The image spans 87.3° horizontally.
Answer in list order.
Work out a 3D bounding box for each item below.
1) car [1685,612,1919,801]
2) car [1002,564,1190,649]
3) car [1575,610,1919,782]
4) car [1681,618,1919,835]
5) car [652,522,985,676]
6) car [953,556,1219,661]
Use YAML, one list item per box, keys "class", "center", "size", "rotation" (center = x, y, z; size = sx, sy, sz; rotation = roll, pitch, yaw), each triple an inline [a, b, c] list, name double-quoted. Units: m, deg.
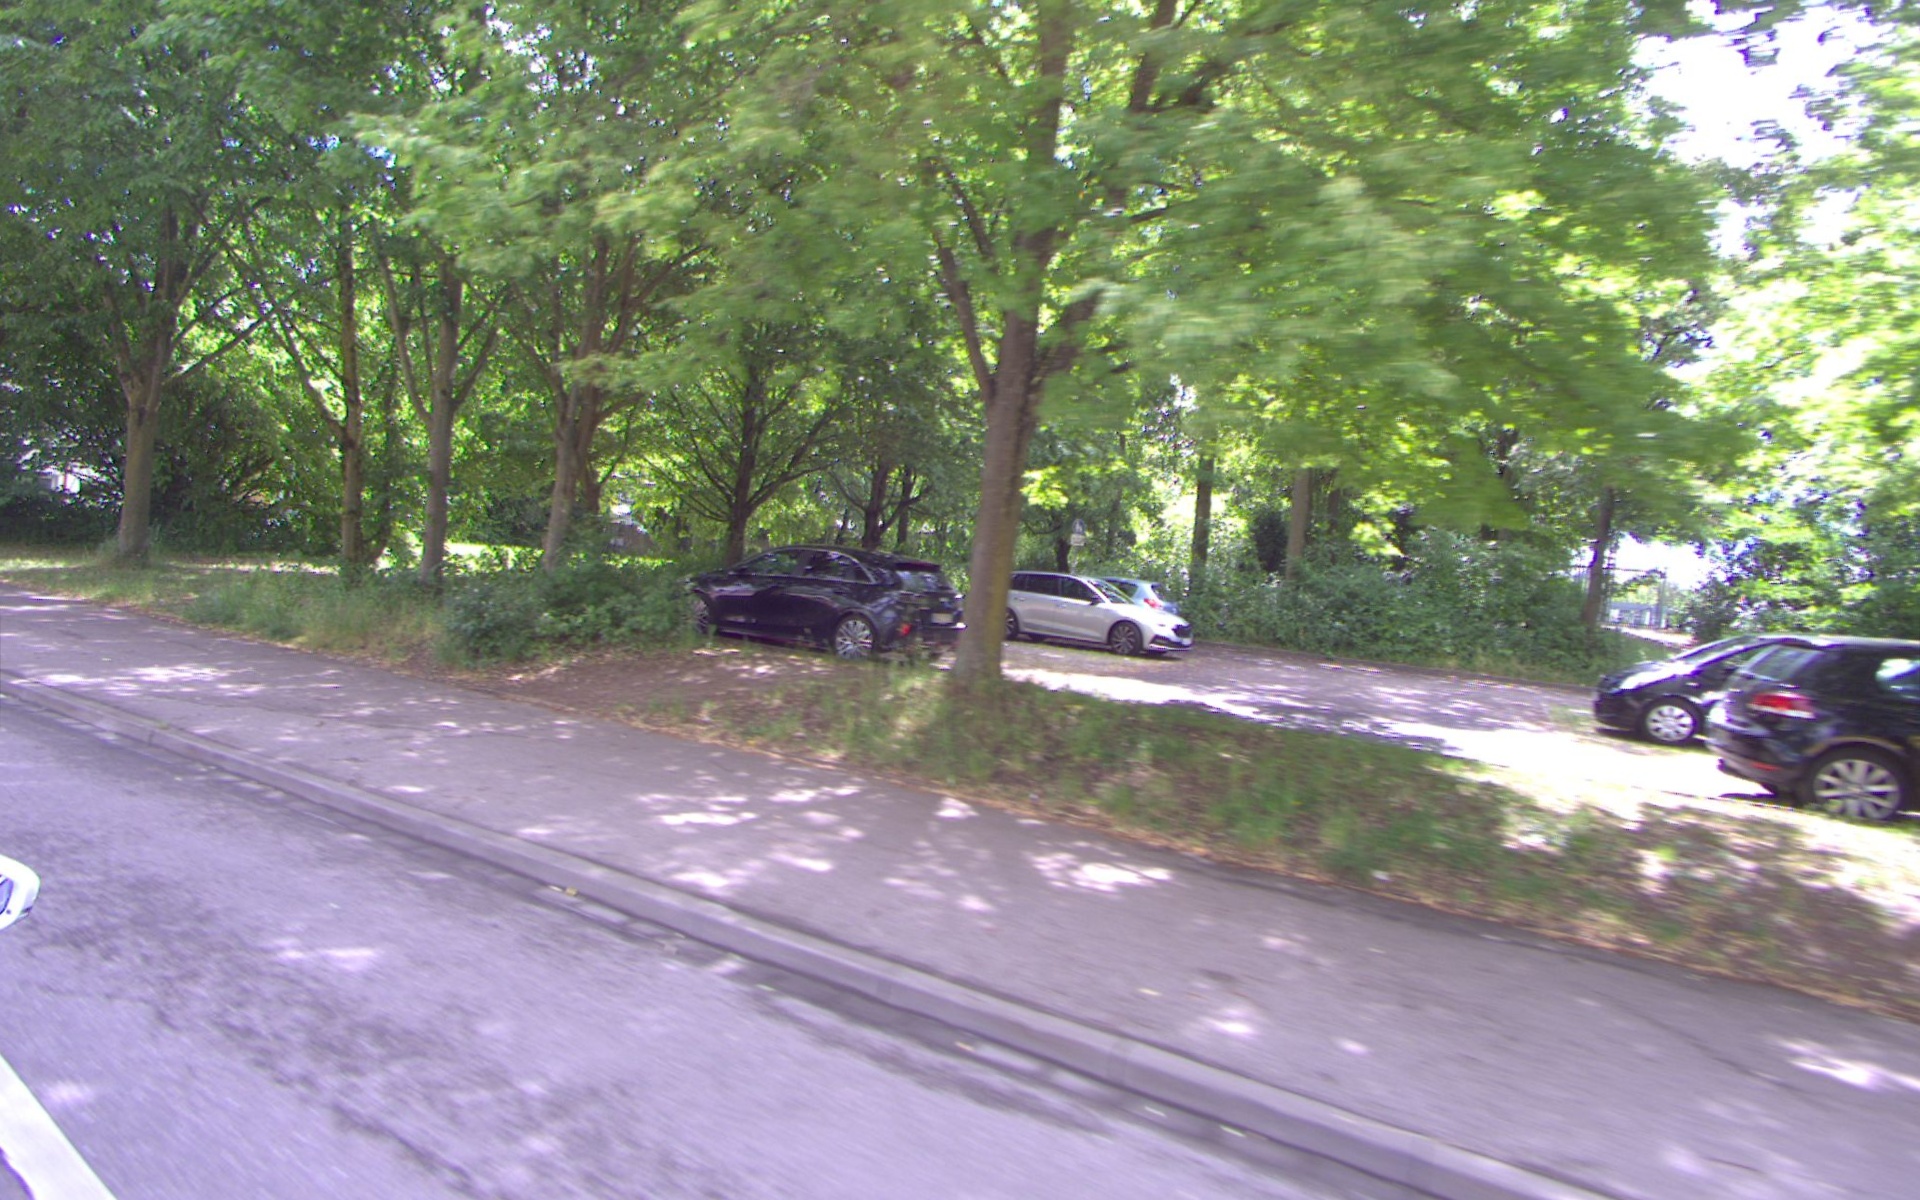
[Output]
- class: "car"
  center: [9.700, 1.140, 9.808]
  size: [3.920, 1.587, 1.637]
  rotation: [7, 2, 28]
- class: "car"
  center: [3.084, 0.122, 23.074]
  size: [3.830, 1.528, 1.650]
  rotation: [7, 3, 31]
- class: "car"
  center: [10.047, 1.116, 12.431]
  size: [3.920, 1.588, 1.609]
  rotation: [7, 3, 28]
- class: "car"
  center: [8.266, 1.111, 7.856]
  size: [3.920, 1.483, 1.799]
  rotation: [7, 2, 28]
- class: "car"
  center: [-1.923, -0.067, 13.347]
  size: [4.088, 1.528, 1.716]
  rotation: [7, 3, 29]
- class: "car"
  center: [2.472, 0.129, 20.197]
  size: [4.798, 1.528, 1.994]
  rotation: [7, 3, 31]
